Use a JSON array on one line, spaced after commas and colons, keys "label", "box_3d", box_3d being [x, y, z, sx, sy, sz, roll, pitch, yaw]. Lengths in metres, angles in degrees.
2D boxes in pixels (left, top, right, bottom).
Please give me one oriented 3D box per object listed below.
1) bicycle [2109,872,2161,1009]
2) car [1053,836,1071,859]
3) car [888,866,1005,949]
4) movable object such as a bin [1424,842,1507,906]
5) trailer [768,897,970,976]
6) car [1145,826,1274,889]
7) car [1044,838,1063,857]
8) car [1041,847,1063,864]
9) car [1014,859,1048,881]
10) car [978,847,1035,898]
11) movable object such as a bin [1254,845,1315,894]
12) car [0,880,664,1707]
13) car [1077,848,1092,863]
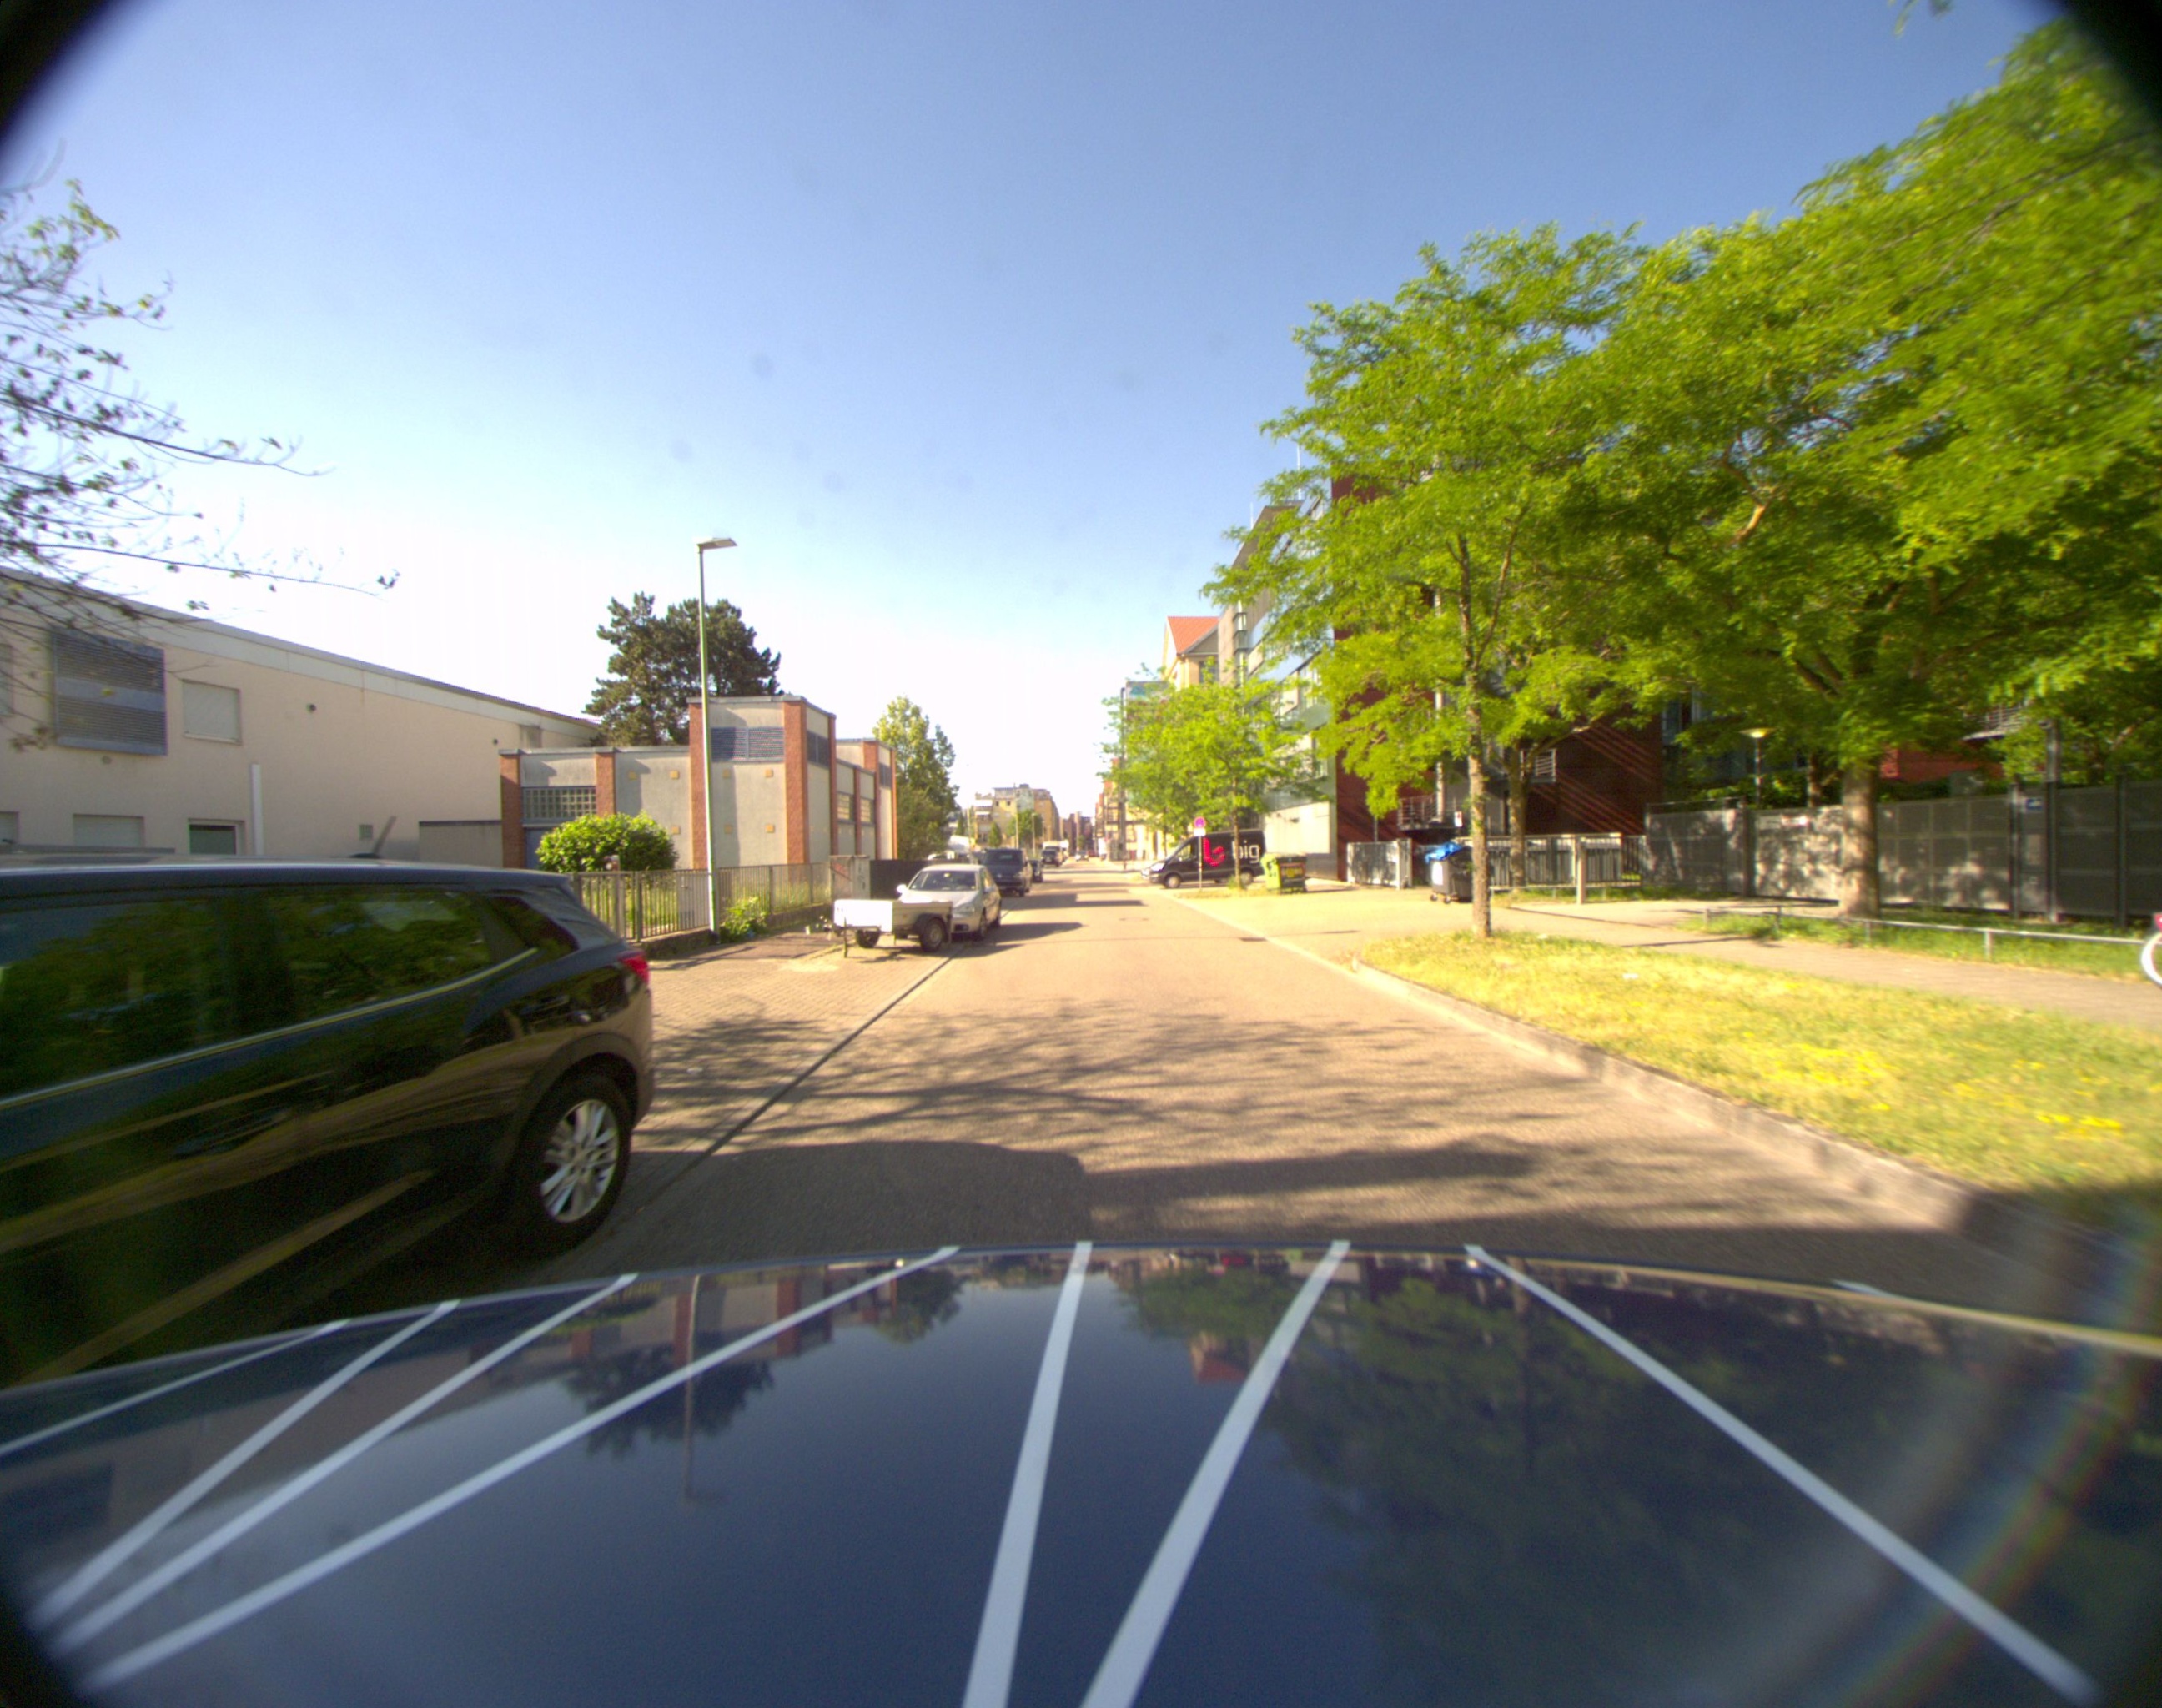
[{"label": "bicycle", "box_3d": [9.835, 0.775, 6.183, 0.602, 1.185, 1.727, -2, 1, 1]}, {"label": "car", "box_3d": [-3.289, -1.132, 133.494, 2.913, 3.920, 6.325, 0, 1, 2]}, {"label": "car", "box_3d": [-2.690, 1.020, 16.020, 1.699, 1.448, 3.889, 0, 0, 1]}, {"label": "movable object such as a bin", "box_3d": [9.982, 0.512, 19.810, 1.522, 1.559, 1.347, -2, 1, 5]}, {"label": "trailer", "box_3d": [-3.353, 1.268, 12.486, 1.563, 0.922, 2.986, 0, 0, 27]}, {"label": "car", "box_3d": [5.867, 0.159, 35.128, 5.489, 2.527, 1.986, -3, 1, -1]}, {"label": "car", "box_3d": [-2.969, -0.700, 82.619, 1.903, 1.974, 4.372, 0, 0, 1]}, {"label": "car", "box_3d": [-2.800, 0.153, 73.603, 1.903, 1.585, 4.372, 0, 0, 1]}, {"label": "car", "box_3d": [-3.071, 0.980, 47.450, 1.777, 1.281, 4.095, 0, 0, 1]}, {"label": "car", "box_3d": [-3.047, 0.713, 32.049, 1.903, 1.974, 4.372, 0, 0, 1]}, {"label": "movable object such as a bin", "box_3d": [6.952, 0.517, 26.030, 1.524, 1.559, 1.345, -2, 1, -10]}, {"label": "car", "box_3d": [-3.044, 0.958, 1.559, 1.878, 1.620, 4.406, 0, 0, 1]}, {"label": "car", "box_3d": [0.501, 0.197, 103.546, 1.903, 1.974, 4.372, 0, 0, 1]}]
